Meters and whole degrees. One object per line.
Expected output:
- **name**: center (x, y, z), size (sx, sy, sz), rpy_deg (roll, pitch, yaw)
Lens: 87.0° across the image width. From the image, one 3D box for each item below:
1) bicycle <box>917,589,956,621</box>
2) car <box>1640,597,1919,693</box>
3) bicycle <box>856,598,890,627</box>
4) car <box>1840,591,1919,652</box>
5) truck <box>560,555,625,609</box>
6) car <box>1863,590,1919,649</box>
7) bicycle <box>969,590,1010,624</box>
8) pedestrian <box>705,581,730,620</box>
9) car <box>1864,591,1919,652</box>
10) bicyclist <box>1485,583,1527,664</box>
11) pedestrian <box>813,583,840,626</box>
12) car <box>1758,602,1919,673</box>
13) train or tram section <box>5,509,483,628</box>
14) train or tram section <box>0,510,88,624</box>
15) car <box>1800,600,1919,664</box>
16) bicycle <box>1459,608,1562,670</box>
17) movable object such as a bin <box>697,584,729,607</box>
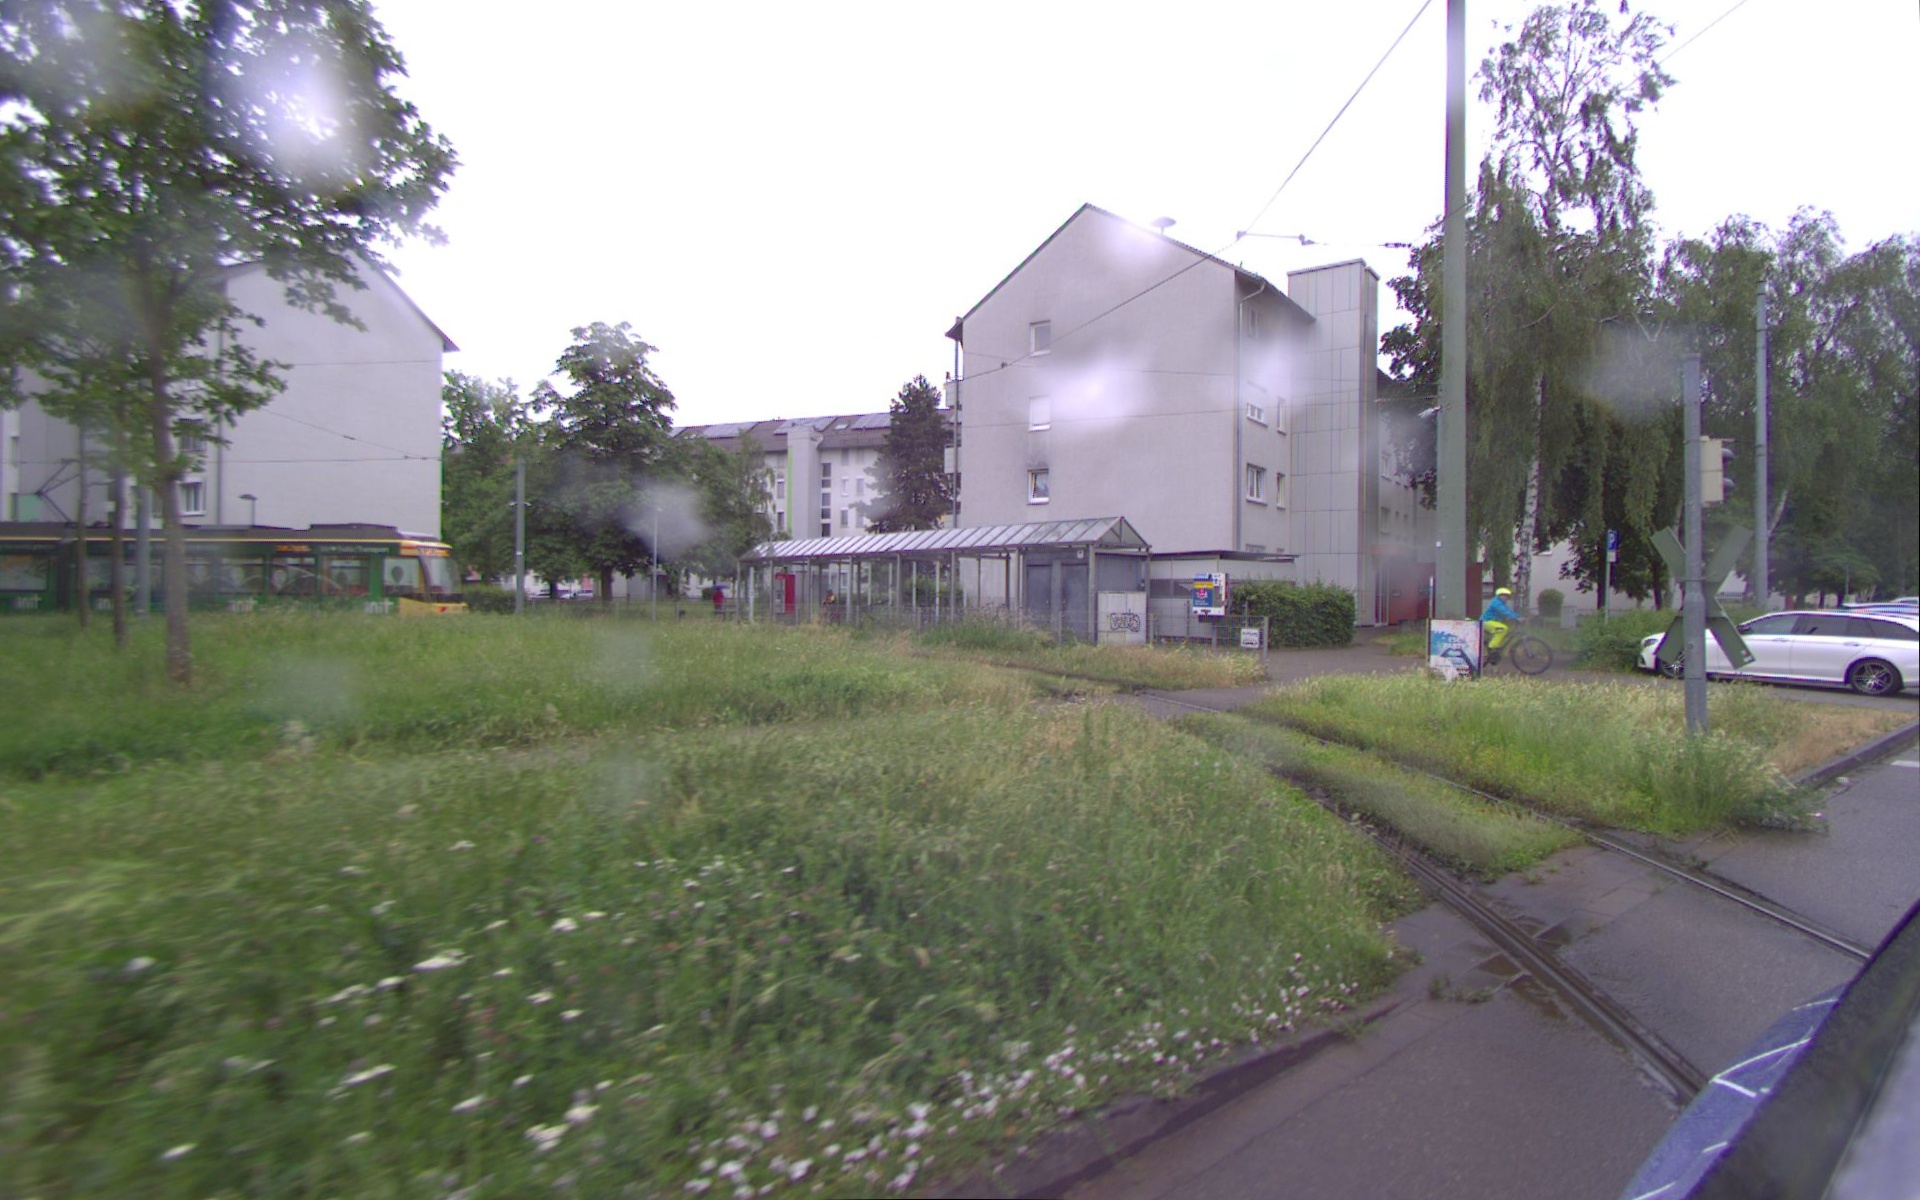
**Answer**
- **bicycle**: center (-0.716, 0.146, 31.209), size (1.215, 0.959, 0.377), rpy_deg (0, -2, -37)
- **car**: center (16.011, 0.775, 19.145), size (1.964, 1.476, 4.839), rpy_deg (1, 2, -39)
- **bicycle**: center (-2.954, 0.422, 34.482), size (0.415, 0.959, 1.292), rpy_deg (-2, -2, 34)
- **car**: center (30.137, 0.654, 31.084), size (1.691, 1.870, 4.440), rpy_deg (0, -2, -38)
- **truck**: center (-26.205, -1.189, 71.905), size (3.138, 3.518, 7.153), rpy_deg (0, -1, -30)
- **car**: center (32.012, 0.607, 32.362), size (1.691, 1.870, 4.440), rpy_deg (0, -2, -38)
- **bicycle**: center (0.852, 0.214, 29.395), size (1.215, 0.968, 0.377), rpy_deg (0, -2, -37)
- **pedestrian**: center (-11.991, 0.038, 49.996), size (1.165, 1.908, 1.055), rpy_deg (-1, -2, -12)
- **car**: center (33.948, 0.705, 34.553), size (1.694, 2.088, 4.435), rpy_deg (0, -2, -43)
- **bicyclist**: center (10.715, 0.454, 19.866), size (0.693, 1.536, 0.716), rpy_deg (0, -2, 32)
- **pedestrian**: center (-4.969, 0.167, 37.764), size (0.776, 1.593, 0.635), rpy_deg (0, -2, -41)
- **car**: center (20.704, 0.821, 22.799), size (1.692, 1.505, 3.995), rpy_deg (0, -1, -38)
- **train or tram section**: center (-23.187, -0.985, 32.988), size (14.480, 3.636, 2.710), rpy_deg (0, -1, 6)
- **train or tram section**: center (-37.607, -1.092, 34.506), size (14.480, 3.636, 2.710), rpy_deg (0, -1, 6)
- **car**: center (24.539, 0.802, 26.202), size (1.692, 1.606, 3.995), rpy_deg (0, -2, -38)
- **bicycle**: center (10.779, 0.751, 19.820), size (1.740, 1.144, 0.720), rpy_deg (0, -1, 32)
- **movable object such as a bin**: center (-22.210, -0.382, 91.100), size (1.883, 2.040, 2.219), rpy_deg (-1, -1, 24)
